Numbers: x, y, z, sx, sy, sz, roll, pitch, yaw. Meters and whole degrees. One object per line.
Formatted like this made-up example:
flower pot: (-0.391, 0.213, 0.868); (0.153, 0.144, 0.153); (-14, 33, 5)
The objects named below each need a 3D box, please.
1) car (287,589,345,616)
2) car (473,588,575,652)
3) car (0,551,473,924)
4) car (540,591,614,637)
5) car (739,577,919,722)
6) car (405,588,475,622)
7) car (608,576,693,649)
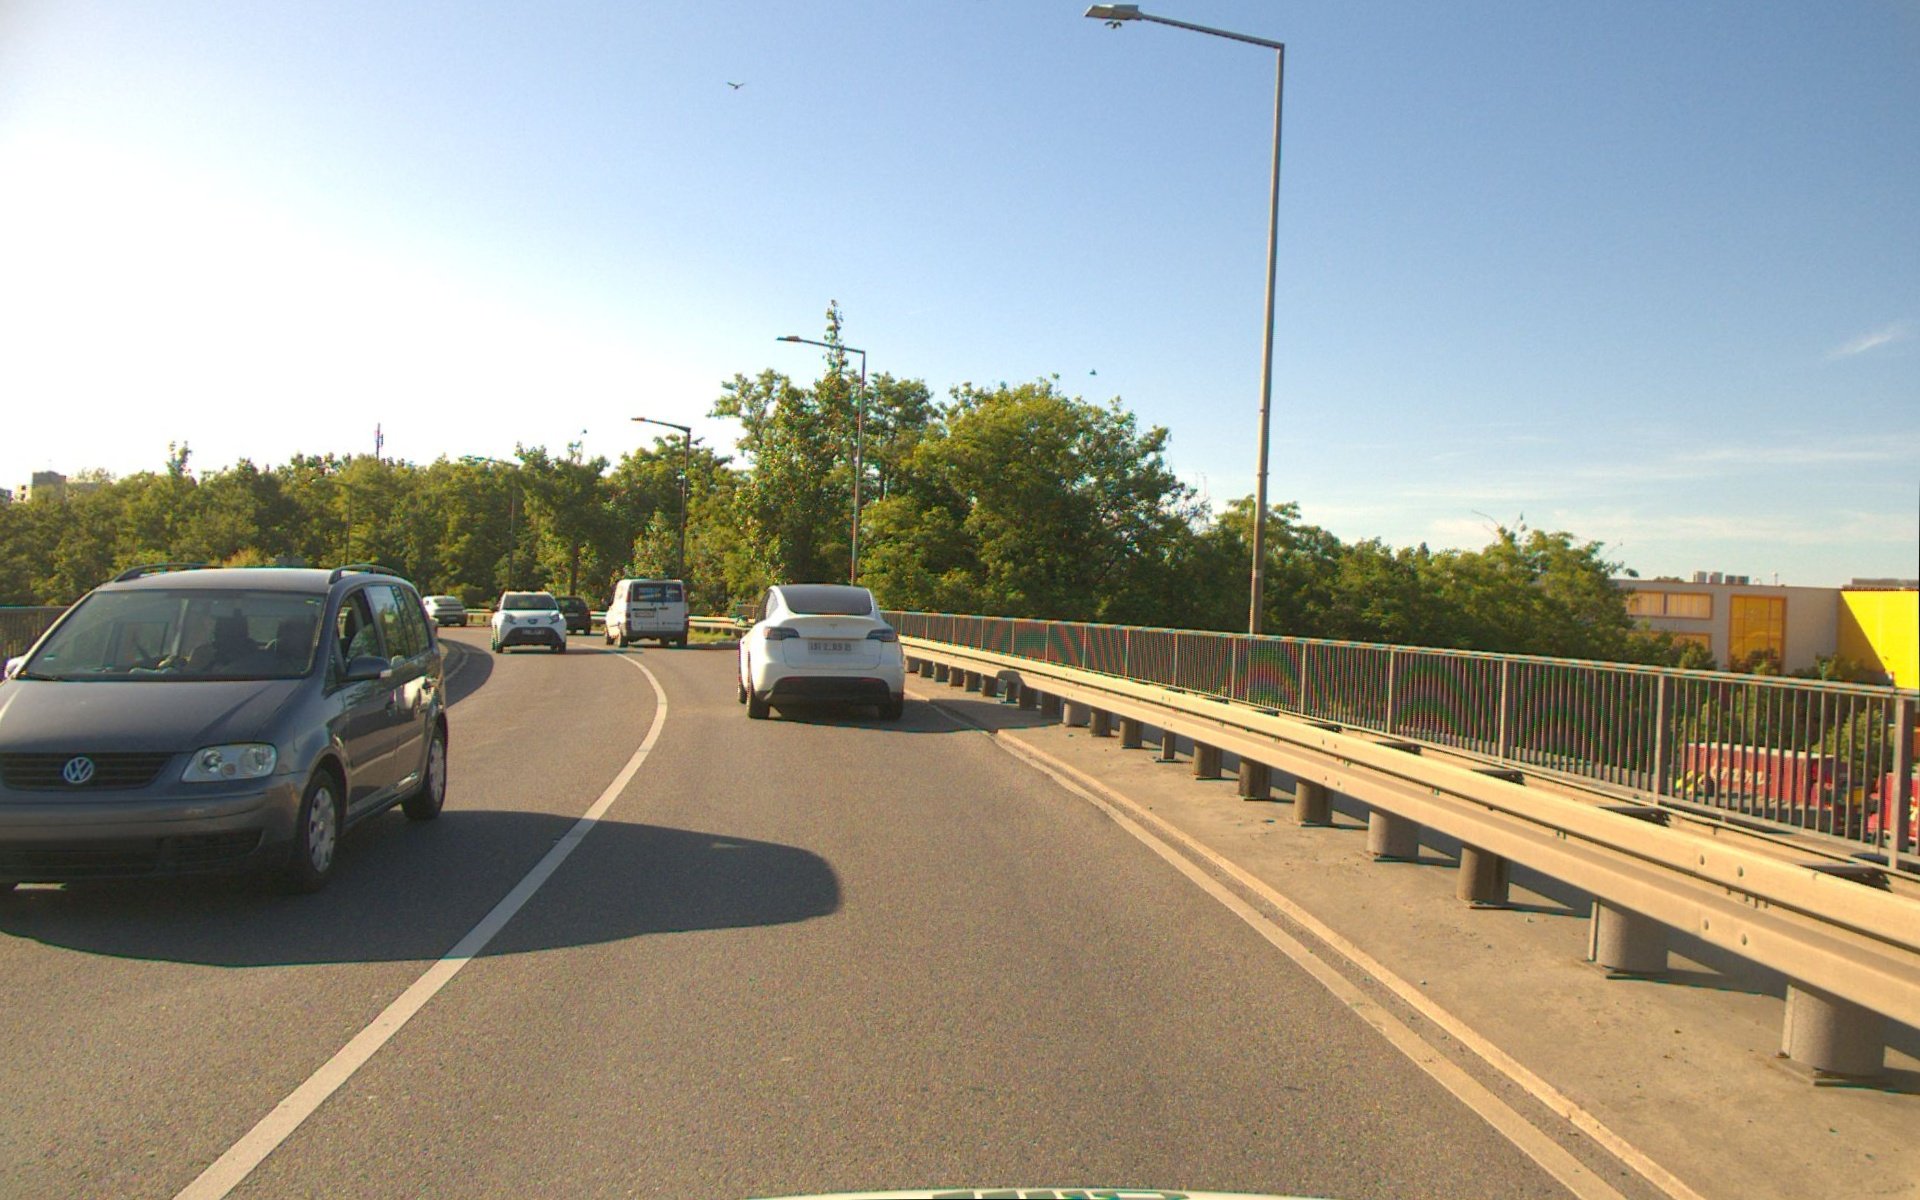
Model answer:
car: (-38.137, 0.153, 97.910); (3.827, 1.583, 1.829); (0, 0, 44)
car: (-11.163, 0.465, 42.183); (1.815, 1.545, 3.738); (0, 0, -26)
car: (-4.090, 0.597, 9.397); (1.813, 1.651, 4.097); (0, 0, -6)
car: (-14.496, 0.529, 62.434); (1.944, 1.666, 3.968); (-1, 0, -25)
car: (-1.783, 0.585, 21.211); (1.949, 1.666, 4.053); (1, 0, -9)
car: (-25.574, 0.221, 81.262); (1.850, 1.612, 3.854); (0, 0, -42)
car: (-8.855, 0.325, 47.077); (1.973, 1.974, 4.448); (0, 0, -16)
